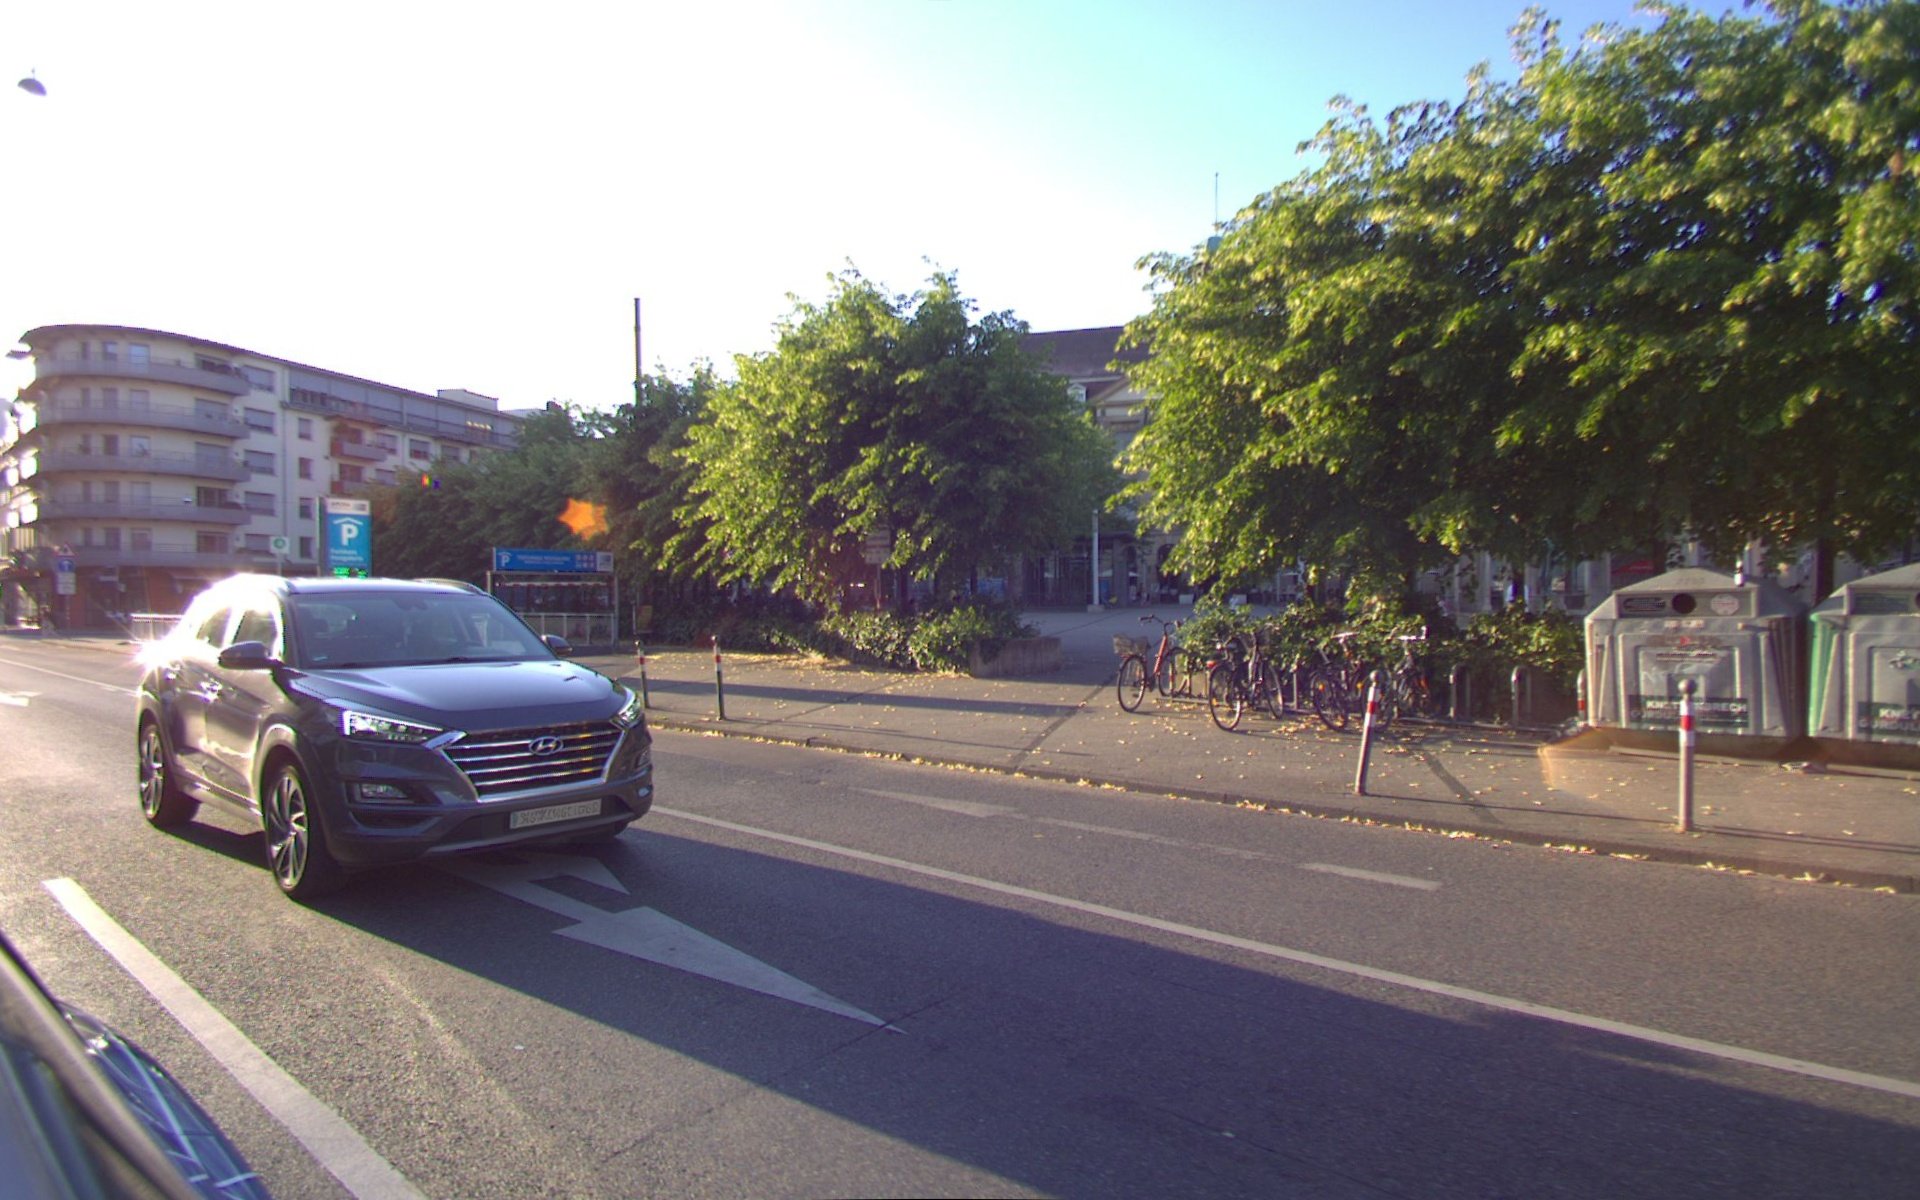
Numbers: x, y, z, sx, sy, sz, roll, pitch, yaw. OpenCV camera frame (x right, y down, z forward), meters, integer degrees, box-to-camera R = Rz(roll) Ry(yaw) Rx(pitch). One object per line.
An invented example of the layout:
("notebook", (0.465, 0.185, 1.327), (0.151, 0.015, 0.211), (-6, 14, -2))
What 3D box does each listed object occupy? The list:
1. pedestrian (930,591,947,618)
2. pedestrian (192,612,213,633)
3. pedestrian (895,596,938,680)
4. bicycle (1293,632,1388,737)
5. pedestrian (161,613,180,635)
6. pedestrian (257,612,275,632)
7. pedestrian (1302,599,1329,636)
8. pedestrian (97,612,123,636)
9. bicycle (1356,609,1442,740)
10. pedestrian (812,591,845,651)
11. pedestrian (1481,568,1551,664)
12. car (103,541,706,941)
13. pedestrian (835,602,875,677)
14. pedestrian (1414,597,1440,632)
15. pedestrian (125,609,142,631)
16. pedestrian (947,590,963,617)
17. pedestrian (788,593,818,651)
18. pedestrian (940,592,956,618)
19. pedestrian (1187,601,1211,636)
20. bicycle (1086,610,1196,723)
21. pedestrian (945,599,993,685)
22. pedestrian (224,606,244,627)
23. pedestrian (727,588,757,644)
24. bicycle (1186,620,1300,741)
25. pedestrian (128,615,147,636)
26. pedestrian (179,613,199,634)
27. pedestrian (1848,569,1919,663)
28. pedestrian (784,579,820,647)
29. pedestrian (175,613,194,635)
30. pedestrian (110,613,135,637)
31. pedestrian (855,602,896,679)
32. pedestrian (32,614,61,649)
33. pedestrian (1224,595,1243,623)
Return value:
("pedestrian", (-1.126, 0.234, 53.007), (0.651, 1.386, 0.656), (0, 1, 26))
("pedestrian", (-47.629, 1.417, 63.622), (0.884, 1.332, 0.726), (-1, 0, 27))
("pedestrian", (-1.084, 0.926, 25.105), (0.739, 2.029, 0.754), (-1, 0, 42))
("bicycle", (4.253, 0.900, 11.244), (0.548, 0.986, 1.658), (-1, 1, 36))
("pedestrian", (-48.601, 1.499, 62.279), (0.888, 1.332, 0.723), (-1, 0, 39))
("pedestrian", (-47.220, 1.487, 68.867), (0.721, 1.332, 0.891), (-1, 0, -11))
("pedestrian", (10.826, 0.531, 30.788), (0.454, 1.071, 0.589), (-3, 0, -21))
("pedestrian", (-49.695, 1.399, 59.156), (0.726, 1.332, 0.885), (-1, 0, 13))
("bicycle", (4.765, 0.757, 10.930), (0.444, 1.262, 1.571), (-1, 1, 38))
("pedestrian", (-4.579, 0.723, 35.284), (0.736, 2.029, 0.897), (-1, 0, 29))
("pedestrian", (10.337, 0.275, 18.830), (0.723, 1.738, 0.899), (-1, 1, -12))
("car", (-3.743, 0.632, 6.457), (4.445, 1.702, 1.854), (-1, -1, 39))
("pedestrian", (-2.919, 1.073, 28.043), (0.890, 2.029, 0.742), (-1, 0, -26))
("pedestrian", (14.690, 0.467, 31.818), (0.454, 1.071, 0.531), (-3, 0, -21))
("pedestrian", (-49.838, 1.217, 60.994), (0.610, 1.332, 0.669), (-1, 0, 39))
("pedestrian", (-0.262, 0.159, 52.314), (0.651, 1.386, 0.515), (-1, 0, 26))
("pedestrian", (-5.560, 0.773, 35.895), (0.733, 2.029, 0.901), (-1, 0, 17))
("pedestrian", (-0.655, 0.264, 54.923), (0.651, 1.386, 0.515), (-1, 0, 26))
("pedestrian", (7.457, 0.584, 31.550), (0.454, 1.071, 0.531), (-3, 0, -30))
("bicycle", (2.348, 0.802, 12.924), (0.548, 1.262, 2.007), (-1, 1, 36))
("pedestrian", (0.219, 0.997, 24.501), (0.852, 2.029, 0.898), (-1, 0, 27))
("pedestrian", (-47.260, 1.081, 65.873), (0.884, 1.332, 0.727), (-1, 0, 25))
("pedestrian", (-8.019, 0.574, 37.226), (0.733, 2.029, 0.901), (-1, 0, 17))
("bicycle", (3.193, 0.841, 11.301), (0.548, 1.143, 2.007), (-1, 1, 36))
("pedestrian", (-49.020, 1.497, 60.305), (0.875, 1.201, 0.734), (-1, 0, -40))
("pedestrian", (-48.832, 1.487, 64.101), (0.814, 1.332, 0.684), (-1, 0, 17))
("pedestrian", (16.603, 0.272, 18.097), (0.693, 1.633, 0.843), (-1, 1, -12))
("pedestrian", (-4.780, 0.388, 30.592), (0.890, 2.029, 0.742), (-1, 0, -23))
("pedestrian", (-48.125, 1.485, 62.772), (0.887, 1.332, 0.724), (-1, 0, 38))
("pedestrian", (-48.793, 1.454, 58.961), (0.725, 1.332, 0.886), (-1, 0, 9))
("pedestrian", (-2.281, 1.080, 27.257), (0.890, 2.029, 0.742), (-1, 0, -23))
("pedestrian", (-40.404, 1.398, 44.780), (0.668, 1.529, 0.677), (-1, 0, -2))
("pedestrian", (10.655, 0.354, 39.402), (0.528, 1.071, 0.457), (-3, 0, 34))
